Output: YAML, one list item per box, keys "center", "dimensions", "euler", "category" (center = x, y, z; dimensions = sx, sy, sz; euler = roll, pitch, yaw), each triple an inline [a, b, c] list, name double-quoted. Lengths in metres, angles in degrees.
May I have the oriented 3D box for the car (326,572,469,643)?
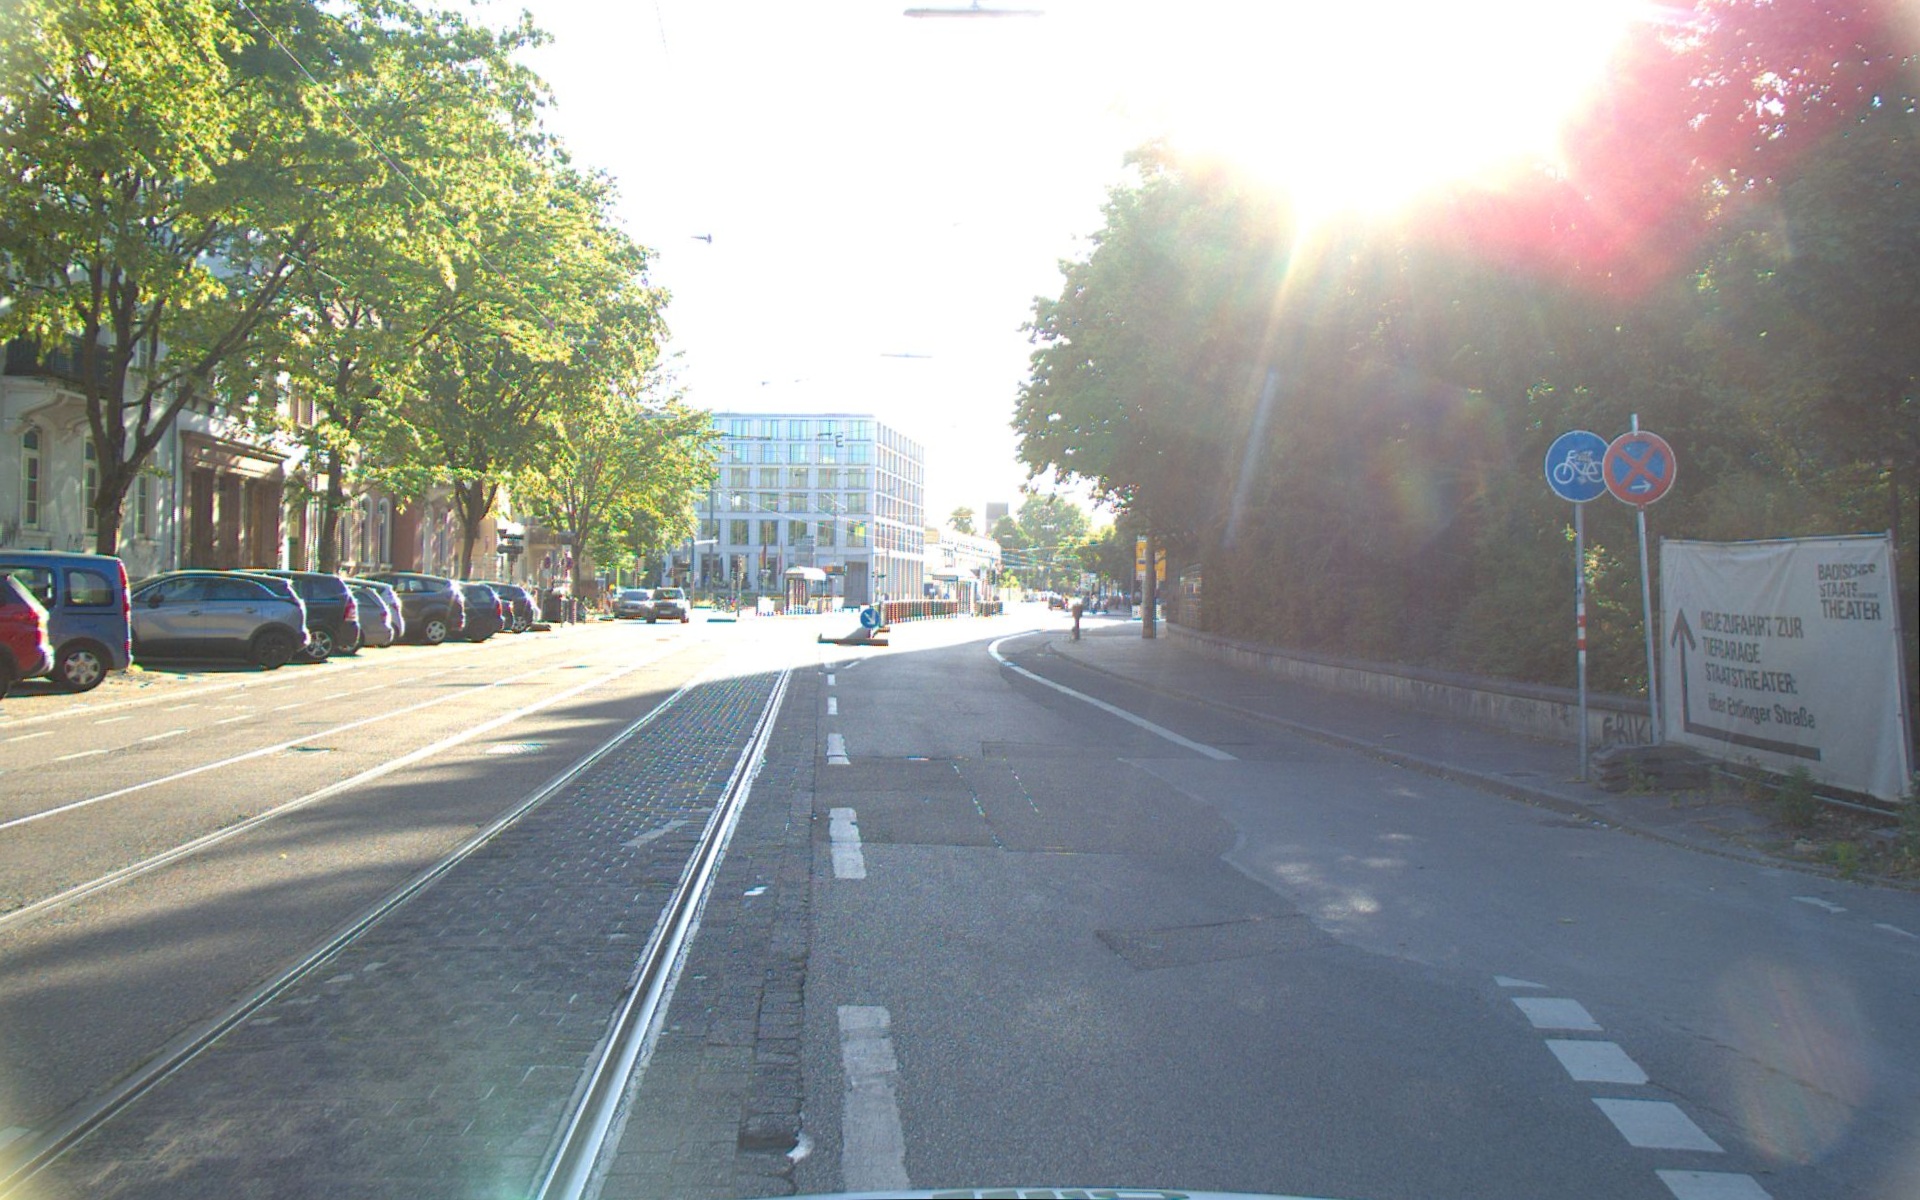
- center: [-14.109, 0.189, 41.528]
  dimensions: [3.232, 1.728, 1.457]
  euler: [1, 0, -27]
  category: "car"

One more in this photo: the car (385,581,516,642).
- center: [-13.880, 0.314, 45.072]
  dimensions: [3.232, 1.613, 1.457]
  euler: [1, 0, -27]
  category: "car"

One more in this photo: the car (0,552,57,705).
- center: [-12.663, 0.289, 18.800]
  dimensions: [4.120, 1.751, 1.566]
  euler: [1, 0, -33]
  category: "car"

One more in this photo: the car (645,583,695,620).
- center: [-12.727, 0.041, 72.831]
  dimensions: [1.526, 1.557, 4.000]
  euler: [1, 0, -1]
  category: "car"

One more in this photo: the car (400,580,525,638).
- center: [-14.331, 0.251, 47.653]
  dimensions: [3.232, 1.613, 1.457]
  euler: [1, 0, -27]
  category: "car"

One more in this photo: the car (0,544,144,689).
- center: [-13.053, 0.191, 21.900]
  dimensions: [3.796, 1.864, 1.711]
  euler: [3, -1, -35]
  category: "car"

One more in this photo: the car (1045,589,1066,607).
- center: [11.079, -0.255, 191.806]
  dimensions: [1.951, 2.049, 4.004]
  euler: [1, 1, 9]
  category: "car"

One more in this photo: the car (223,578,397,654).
- center: [-13.479, 0.331, 34.308]
  dimensions: [3.232, 1.510, 1.457]
  euler: [1, 0, -27]
  category: "car"

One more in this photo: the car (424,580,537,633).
- center: [-15.183, 0.204, 52.373]
  dimensions: [3.232, 1.613, 1.457]
  euler: [1, 0, -27]
  category: "car"

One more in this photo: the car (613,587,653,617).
- center: [-16.783, 0.088, 85.006]
  dimensions: [1.542, 1.516, 3.996]
  euler: [1, 0, -5]
  category: "car"

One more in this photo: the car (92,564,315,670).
- center: [-13.047, 0.294, 28.566]
  dimensions: [3.341, 1.727, 1.389]
  euler: [1, 0, -33]
  category: "car"

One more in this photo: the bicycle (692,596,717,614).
- center: [-18.385, 0.373, 119.022]
  dimensions: [1.762, 1.245, 0.597]
  euler: [1, 0, -14]
  category: "bicycle"

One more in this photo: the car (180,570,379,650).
- center: [-13.010, 0.196, 31.681]
  dimensions: [3.341, 1.444, 1.389]
  euler: [1, 0, -33]
  category: "car"
